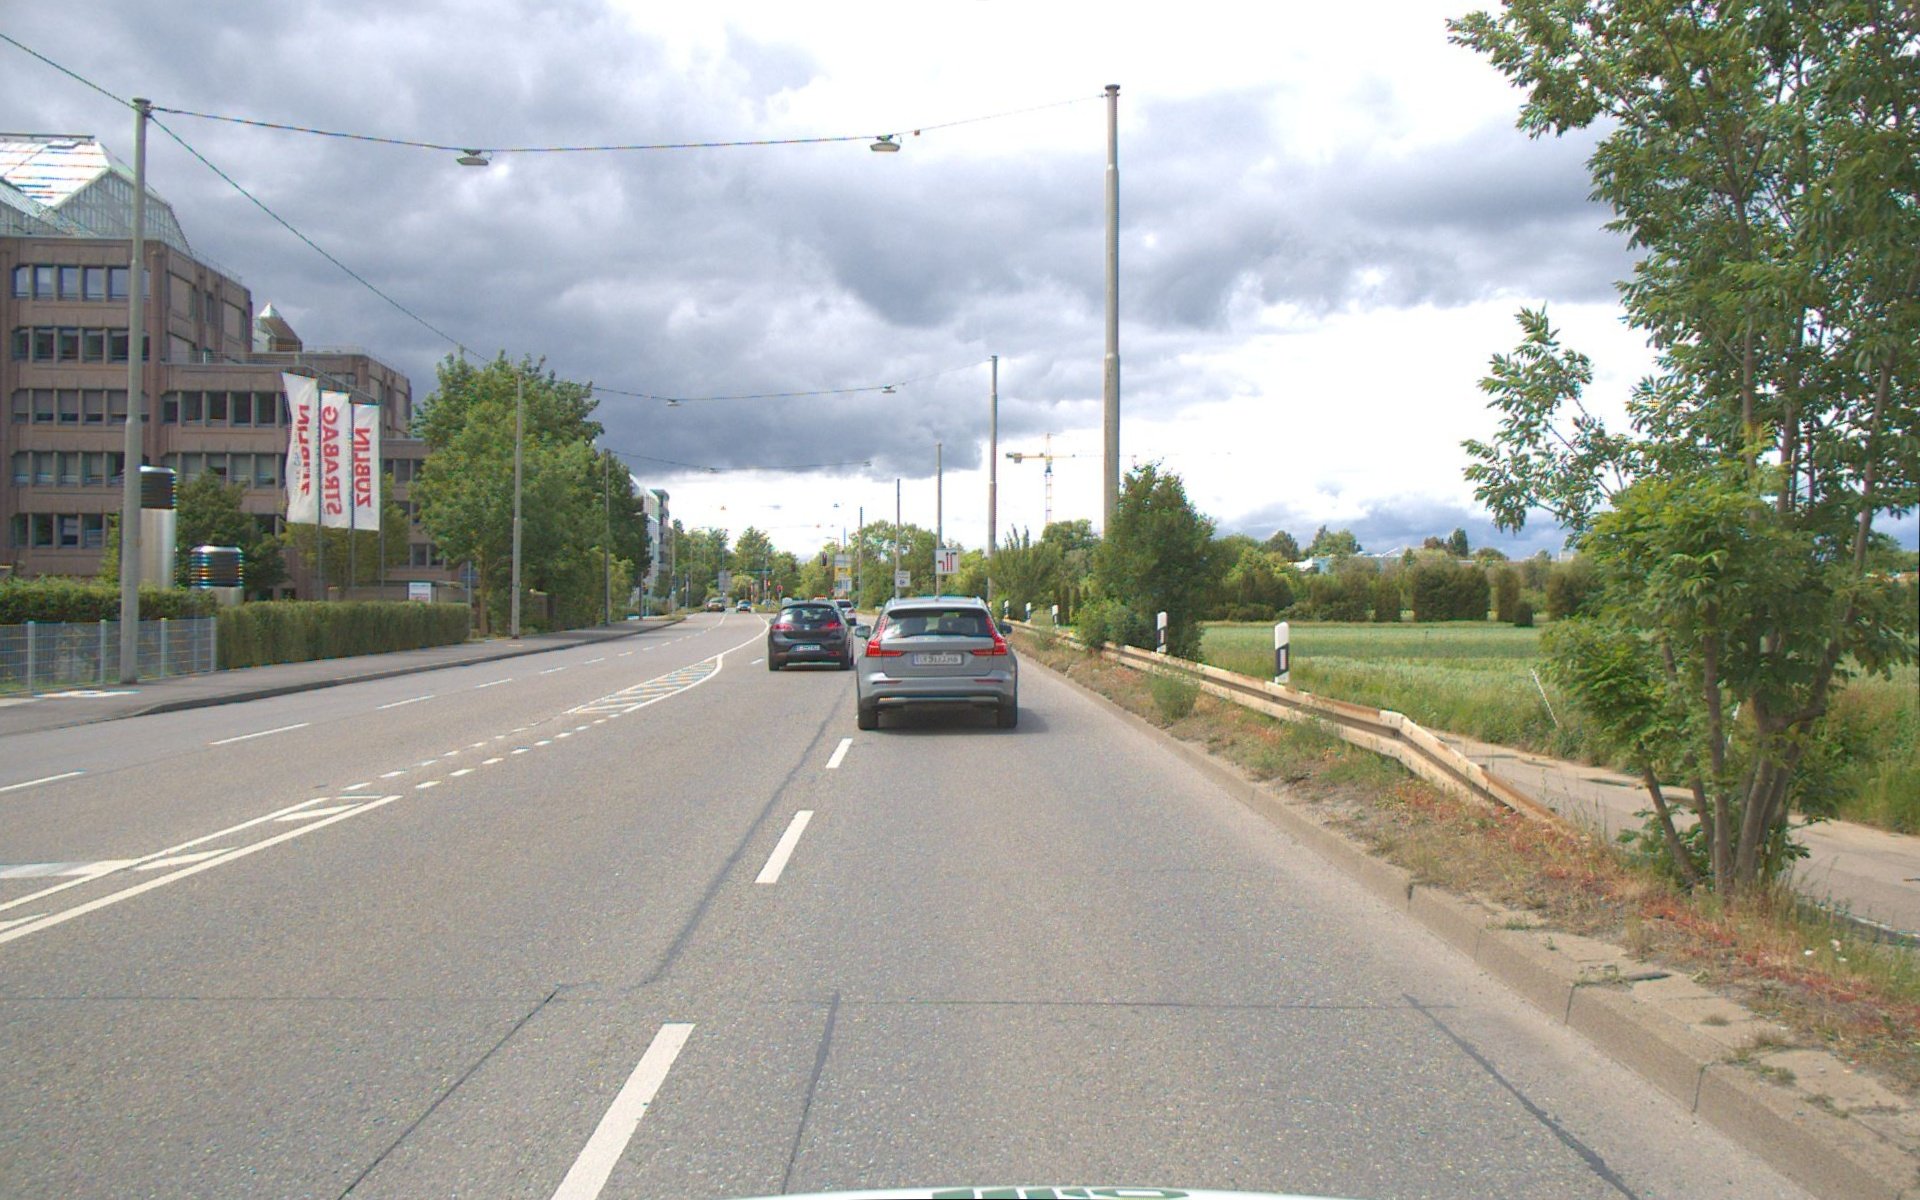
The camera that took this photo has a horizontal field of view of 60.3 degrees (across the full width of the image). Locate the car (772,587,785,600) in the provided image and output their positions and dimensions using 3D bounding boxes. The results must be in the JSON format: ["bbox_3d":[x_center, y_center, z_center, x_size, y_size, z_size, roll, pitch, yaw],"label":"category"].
[{"bbox_3d":[-27.606,-1.019,251.891,1.911,1.781,4.382,2,-1,-6],"label":"car"}]

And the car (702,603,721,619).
[{"bbox_3d":[-29.493,1.296,196.520,1.844,1.747,3.997,2,-1,-3],"label":"car"}]

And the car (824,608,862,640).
[{"bbox_3d":[-6.626,1.388,94.284,1.953,1.724,3.998,2,-1,-2],"label":"car"}]

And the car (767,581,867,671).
[{"bbox_3d":[-3.024,0.567,35.584,1.954,1.747,3.996,2,-1,-4],"label":"car"}]

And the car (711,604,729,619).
[{"bbox_3d":[-30.993,1.515,213.458,1.844,1.747,3.997,2,-1,-3],"label":"car"}]

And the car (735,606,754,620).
[{"bbox_3d":[-25.375,1.512,194.962,1.844,1.547,3.997,2,-1,-3],"label":"car"}]

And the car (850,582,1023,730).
[{"bbox_3d":[-0.267,0.643,19.770,1.857,1.582,3.999,0,-1,-1],"label":"car"}]
